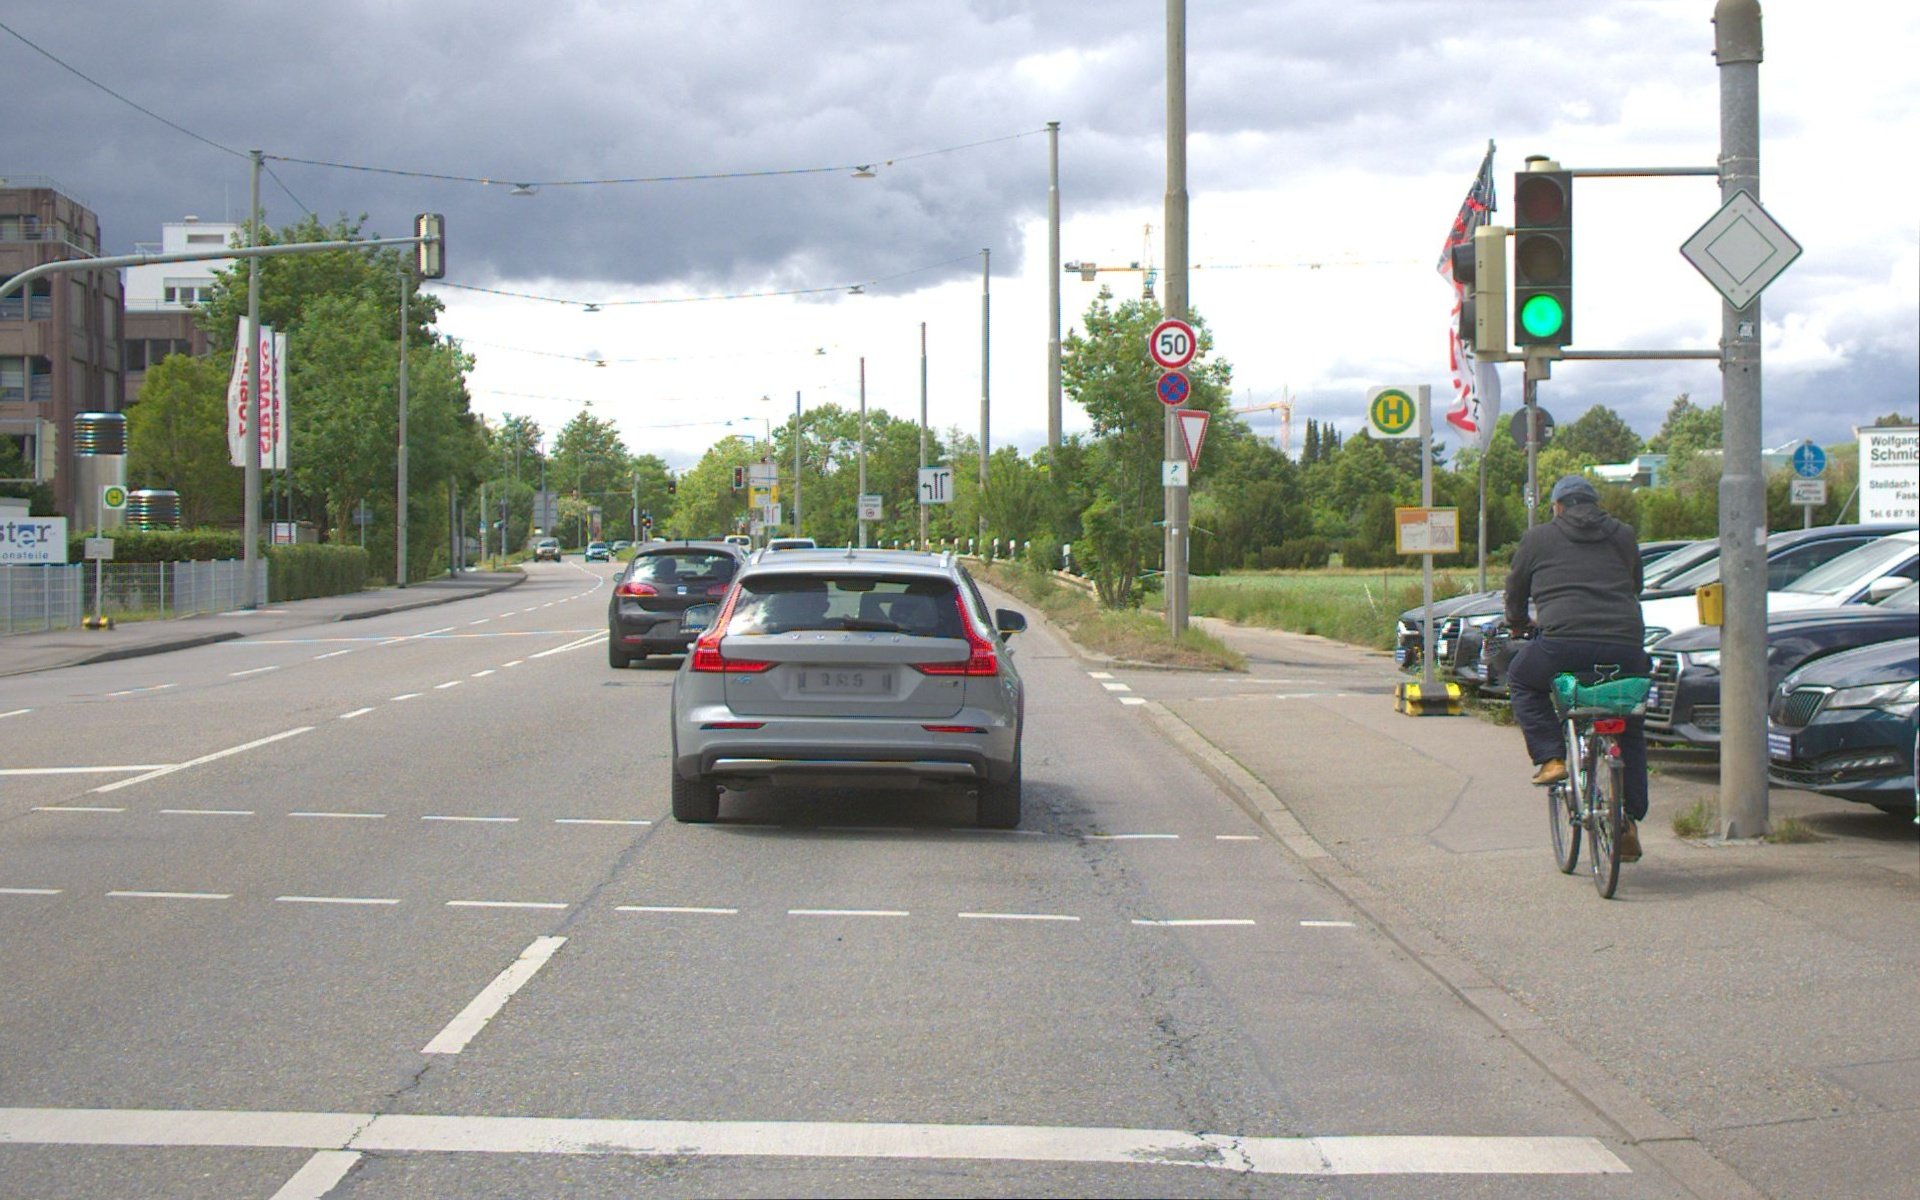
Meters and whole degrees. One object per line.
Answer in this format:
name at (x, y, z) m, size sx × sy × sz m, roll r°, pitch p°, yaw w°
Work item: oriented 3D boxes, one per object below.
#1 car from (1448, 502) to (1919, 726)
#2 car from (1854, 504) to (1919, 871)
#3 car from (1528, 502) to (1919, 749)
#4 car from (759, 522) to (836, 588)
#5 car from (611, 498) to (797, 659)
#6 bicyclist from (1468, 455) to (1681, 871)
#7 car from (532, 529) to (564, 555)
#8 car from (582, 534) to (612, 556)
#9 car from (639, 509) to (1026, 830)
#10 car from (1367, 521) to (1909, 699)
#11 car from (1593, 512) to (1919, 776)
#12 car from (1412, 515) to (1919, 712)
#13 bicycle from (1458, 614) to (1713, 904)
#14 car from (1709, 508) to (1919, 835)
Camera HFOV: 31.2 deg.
car at (6.080, 0.103, 25.235) m, size 4.676 × 1.488 × 2.015 m, roll 2°, pitch 1°, yaw 0°
car at (6.255, 0.389, 13.898) m, size 4.696 × 1.488 × 2.046 m, roll 1°, pitch 2°, yaw -1°
car at (6.288, 0.184, 22.420) m, size 4.800 × 1.475 × 2.032 m, roll 2°, pitch 1°, yaw 1°
car at (-4.416, -1.213, 93.953) m, size 1.993 × 1.689 × 4.000 m, roll 2°, pitch 0°, yaw -2°
car at (-2.940, -0.251, 39.893) m, size 1.993 × 1.711 × 4.000 m, roll 2°, pitch 0°, yaw -3°
bicyclist at (2.587, 0.251, 14.547) m, size 0.638 × 1.670 × 0.890 m, roll -4°, pitch 1°, yaw -1°
car at (-29.178, -4.098, 243.612) m, size 1.881 × 1.711 × 4.000 m, roll 2°, pitch 0°, yaw -3°
car at (-25.804, -3.903, 244.674) m, size 1.881 × 1.515 × 4.000 m, roll 2°, pitch 0°, yaw -3°
car at (-0.634, 0.337, 19.238) m, size 1.895 × 1.549 × 4.000 m, roll 2°, pitch 0°, yaw 0°
car at (5.945, 0.096, 30.490) m, size 4.321 × 1.394 × 2.004 m, roll 2°, pitch -1°, yaw -3°
car at (6.029, 0.255, 19.655) m, size 4.368 × 1.399 × 1.989 m, roll 2°, pitch 1°, yaw -2°
car at (6.249, 0.106, 27.868) m, size 4.852 × 1.425 × 2.038 m, roll 2°, pitch 1°, yaw 0°
bicycle at (2.615, 0.633, 14.571) m, size 0.638 × 1.059 × 1.977 m, roll -4°, pitch 1°, yaw -1°
car at (6.223, 0.327, 16.757) m, size 4.659 × 1.488 × 2.035 m, roll 1°, pitch 1°, yaw -1°
